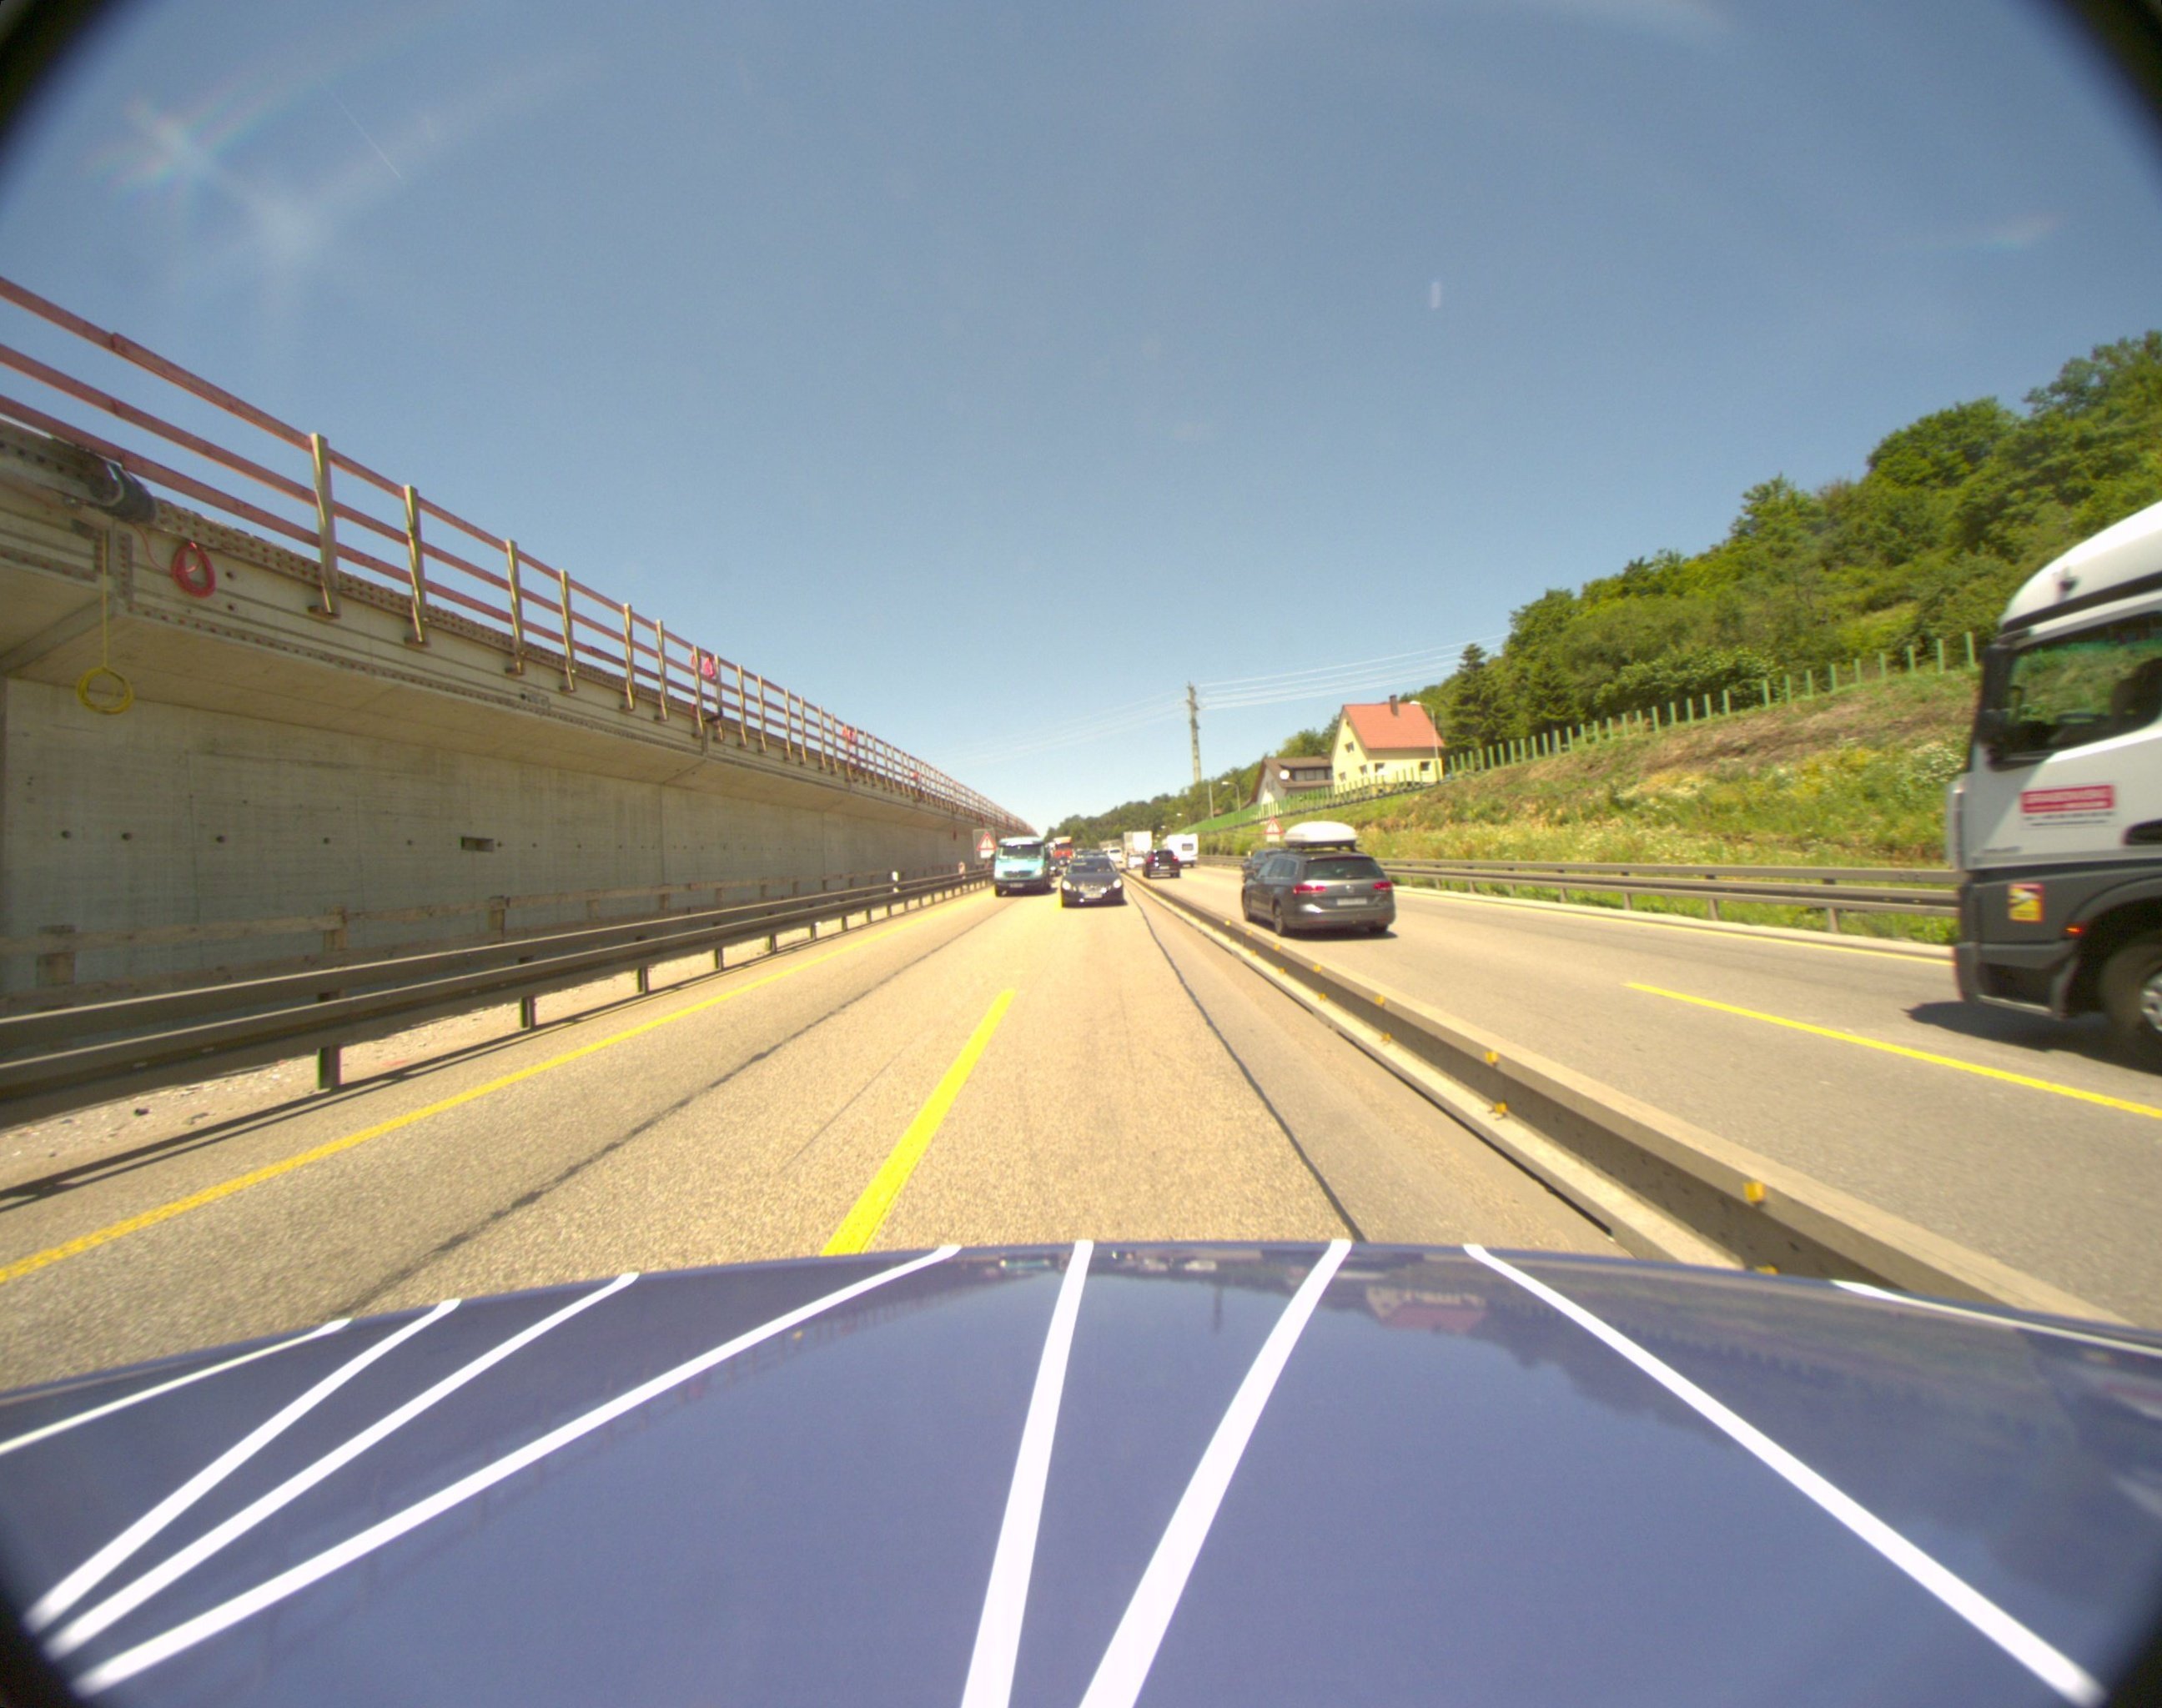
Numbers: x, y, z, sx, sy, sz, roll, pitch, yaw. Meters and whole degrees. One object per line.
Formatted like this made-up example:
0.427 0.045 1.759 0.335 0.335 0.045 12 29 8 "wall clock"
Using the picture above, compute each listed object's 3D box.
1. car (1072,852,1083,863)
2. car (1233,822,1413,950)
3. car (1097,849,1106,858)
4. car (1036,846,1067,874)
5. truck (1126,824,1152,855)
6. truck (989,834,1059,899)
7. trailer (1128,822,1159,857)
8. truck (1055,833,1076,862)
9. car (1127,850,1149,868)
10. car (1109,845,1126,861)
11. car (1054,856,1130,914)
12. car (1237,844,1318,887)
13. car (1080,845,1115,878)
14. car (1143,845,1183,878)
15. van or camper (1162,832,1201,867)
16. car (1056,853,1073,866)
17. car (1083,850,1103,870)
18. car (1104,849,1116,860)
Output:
-0.679 0.619 147.092 1.998 2.002 3.999 -2 1 1 "car"
4.151 0.491 13.892 1.854 1.879 4.501 -2 0 1 "car"
4.278 -0.077 157.675 1.884 1.805 4.000 -2 1 3 "car"
-2.035 0.387 53.433 1.885 1.805 4.250 -2 1 1 "car"
8.533 -2.104 112.917 3.111 4.369 8.505 -2 1 0 "truck"
-2.232 0.413 32.041 2.139 2.344 7.432 -2 1 1 "truck"
8.509 -2.038 105.539 3.111 4.416 14.627 -2 1 0 "trailer"
-2.325 -1.046 117.945 2.750 4.222 9.094 -2 1 1 "truck"
4.801 0.379 64.406 1.671 1.442 3.905 -2 0 1 "car"
4.756 -0.136 98.458 1.998 2.002 4.166 -2 0 1 "car"
0.359 0.827 22.714 1.998 1.440 4.601 -2 0 1 "car"
7.859 0.405 30.918 1.998 1.499 5.300 -2 1 1 "car"
1.035 0.403 45.389 1.884 1.805 4.250 -2 1 3 "car"
4.551 0.398 42.663 1.875 1.674 4.000 -2 0 1 "car"
8.232 -0.423 62.884 2.356 2.619 6.901 -2 1 1 "van or camper"
-2.042 0.656 93.843 1.883 1.532 4.281 -2 1 1 "car"
1.298 0.641 83.070 1.998 2.002 3.999 -2 1 1 "car"
4.911 0.077 126.411 1.884 1.805 4.000 -2 1 3 "car"
